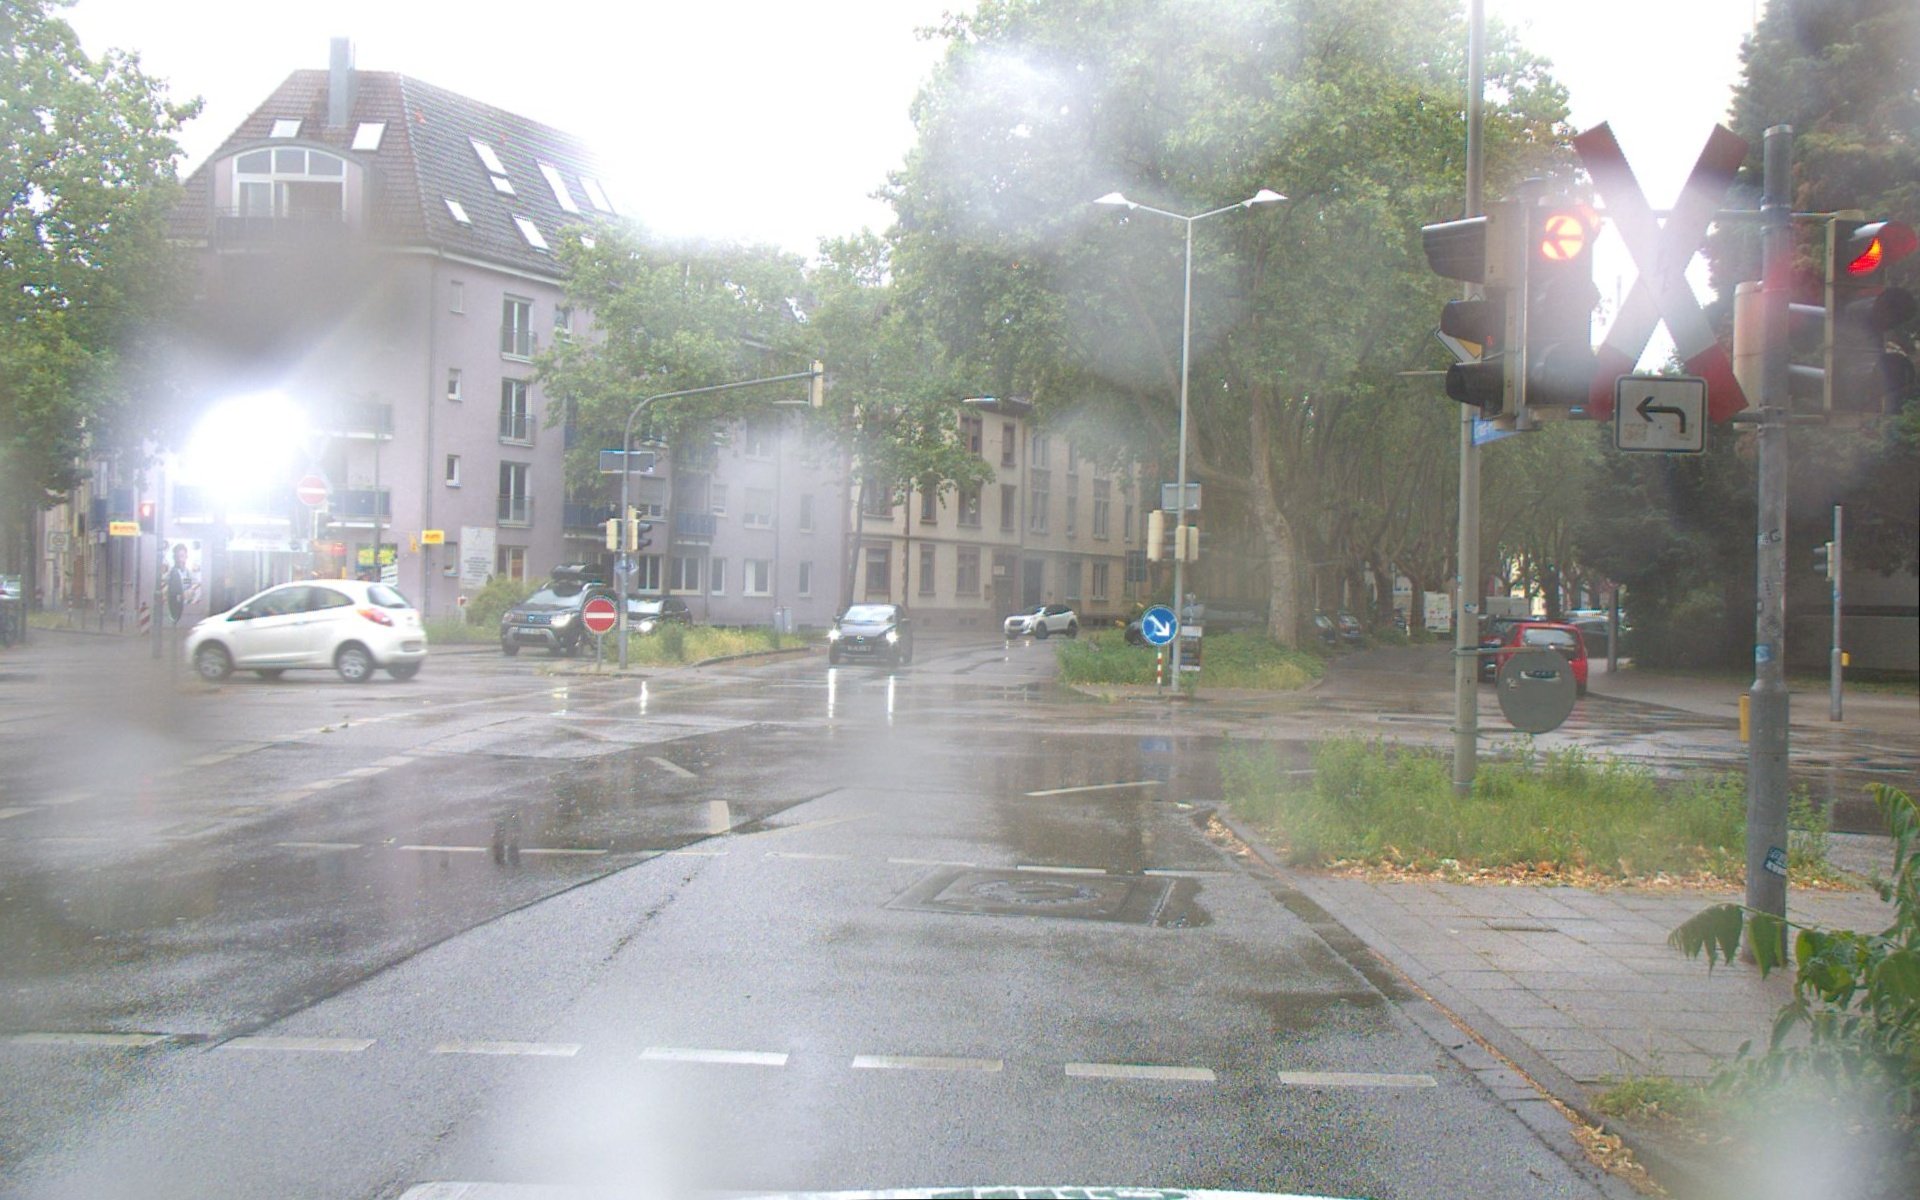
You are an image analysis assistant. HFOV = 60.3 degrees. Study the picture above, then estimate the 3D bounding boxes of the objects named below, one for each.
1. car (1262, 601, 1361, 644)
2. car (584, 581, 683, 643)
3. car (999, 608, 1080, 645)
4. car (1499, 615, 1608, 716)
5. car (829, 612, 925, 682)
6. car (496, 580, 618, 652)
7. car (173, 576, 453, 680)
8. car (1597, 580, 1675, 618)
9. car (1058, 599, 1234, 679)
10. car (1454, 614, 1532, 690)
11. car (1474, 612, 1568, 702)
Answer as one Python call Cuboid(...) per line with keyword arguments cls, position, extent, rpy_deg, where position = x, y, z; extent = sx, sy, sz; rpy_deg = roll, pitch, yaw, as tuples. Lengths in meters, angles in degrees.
Cuboid(cls="car", position=(13.958, 0.882, 65.722), extent=(3.537, 1.646, 1.679), rpy_deg=(0, 0, 28))
Cuboid(cls="car", position=(-8.782, 0.303, 44.735), extent=(1.688, 1.579, 3.562), rpy_deg=(0, 0, 5))
Cuboid(cls="car", position=(3.616, 1.166, 74.543), extent=(1.648, 1.579, 4.183), rpy_deg=(0, 0, 35))
Cuboid(cls="car", position=(13.070, 1.390, 36.635), extent=(1.951, 2.049, 4.003), rpy_deg=(0, 0, 15))
Cuboid(cls="car", position=(-1.985, 1.108, 40.522), extent=(1.568, 1.579, 3.563), rpy_deg=(0, 0, 10))
Cuboid(cls="car", position=(-9.353, 0.346, 38.653), extent=(1.688, 1.579, 3.562), rpy_deg=(0, 0, 5))
Cuboid(cls="car", position=(-9.812, 0.414, 25.207), extent=(3.563, 1.512, 1.726), rpy_deg=(0, 0, 9))
Cuboid(cls="car", position=(37.774, -0.044, 92.499), extent=(3.903, 2.049, 1.708), rpy_deg=(0, 0, 19))
Cuboid(cls="car", position=(3.719, 0.764, 33.049), extent=(3.405, 1.550, 1.521), rpy_deg=(0, 0, 8))
Cuboid(cls="car", position=(15.465, 1.471, 48.118), extent=(1.951, 2.049, 4.003), rpy_deg=(0, 0, 15))
Cuboid(cls="car", position=(13.865, 1.355, 41.078), extent=(1.951, 2.049, 4.003), rpy_deg=(0, 0, 15))
